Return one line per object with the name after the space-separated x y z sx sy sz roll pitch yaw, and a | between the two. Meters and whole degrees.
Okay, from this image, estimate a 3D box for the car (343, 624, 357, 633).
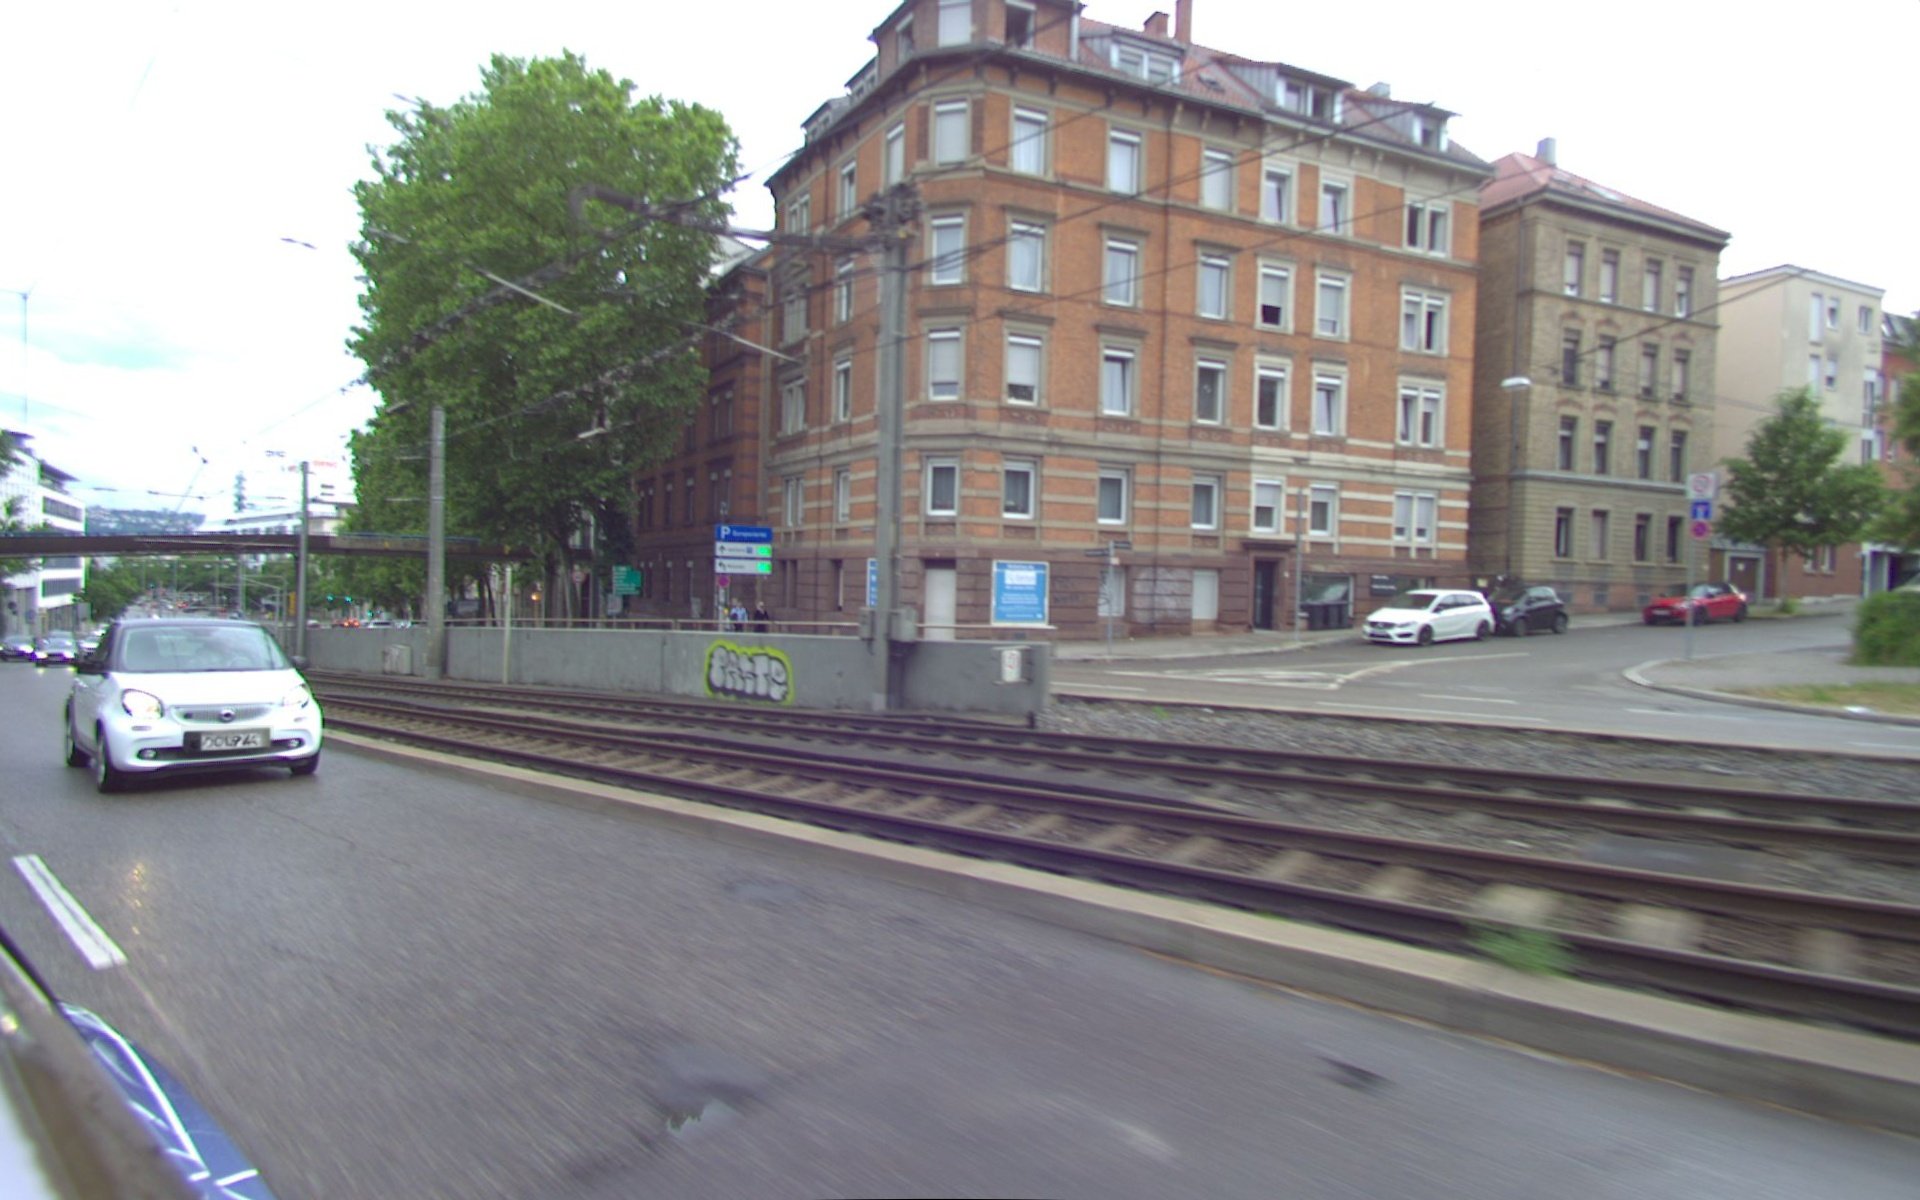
-102.758 4.771 170.447 1.770 1.522 4.119 -1 -1 -33 | car

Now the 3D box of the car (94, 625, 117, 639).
-102.948 3.892 121.954 1.770 1.521 4.010 -1 0 -35 | car

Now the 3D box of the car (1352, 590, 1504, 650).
13.900 0.537 30.037 4.284 1.513 1.912 -2 3 -28 | car

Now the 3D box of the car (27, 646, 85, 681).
-46.799 3.253 52.467 1.770 1.521 4.010 -1 0 -35 | car

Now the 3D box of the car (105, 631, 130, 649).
-84.715 4.005 101.744 1.771 1.624 4.367 -1 -1 -38 | car

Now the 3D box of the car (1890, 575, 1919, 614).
40.091 -0.237 41.430 3.748 1.513 1.691 -2 3 -26 | car

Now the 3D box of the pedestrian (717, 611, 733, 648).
-8.672 1.102 37.376 0.330 1.344 0.505 4 -5 -41 | pedestrian

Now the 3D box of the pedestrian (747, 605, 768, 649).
-7.612 1.020 38.010 0.585 1.637 0.725 3 -4 -27 | pedestrian

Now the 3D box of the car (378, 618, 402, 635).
-56.321 2.628 99.968 1.770 1.624 4.370 -1 -1 -33 | car

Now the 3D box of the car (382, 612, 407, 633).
-76.148 2.999 136.140 2.419 2.682 6.950 -1 -1 -33 | car

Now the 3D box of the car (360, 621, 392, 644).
-44.257 2.433 76.647 1.770 1.624 4.370 -1 -1 -34 | car

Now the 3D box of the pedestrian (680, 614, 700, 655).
-11.077 1.422 41.538 0.585 1.637 0.725 3 -4 -27 | pedestrian

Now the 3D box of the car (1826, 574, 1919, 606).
46.110 -0.467 50.174 1.769 1.522 4.515 -1 0 -23 | car

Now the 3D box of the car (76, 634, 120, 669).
-56.173 3.312 66.011 1.770 2.048 4.010 -1 0 -35 | car

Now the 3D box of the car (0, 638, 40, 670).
-55.400 3.124 59.260 1.770 1.679 4.010 -1 0 -35 | car

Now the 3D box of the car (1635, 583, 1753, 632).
25.662 0.215 35.371 3.748 1.513 1.755 -2 3 -26 | car

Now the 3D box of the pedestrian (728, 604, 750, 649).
-8.265 0.989 37.788 0.585 1.637 0.725 3 -4 -27 | pedestrian

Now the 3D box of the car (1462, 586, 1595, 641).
18.231 0.392 32.459 3.888 1.513 1.912 -2 3 -28 | car

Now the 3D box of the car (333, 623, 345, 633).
-118.749 5.298 193.535 1.929 1.866 4.981 -1 -1 -32 | car

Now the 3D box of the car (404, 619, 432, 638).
-48.204 2.525 89.988 1.770 1.624 4.371 -1 -1 -33 | car

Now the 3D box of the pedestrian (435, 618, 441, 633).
-64.700 3.179 125.391 0.516 1.761 0.623 -3 1 -26 | pedestrian

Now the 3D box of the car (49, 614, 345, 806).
-7.826 0.944 10.237 4.001 1.549 1.774 -1 -3 44 | car
